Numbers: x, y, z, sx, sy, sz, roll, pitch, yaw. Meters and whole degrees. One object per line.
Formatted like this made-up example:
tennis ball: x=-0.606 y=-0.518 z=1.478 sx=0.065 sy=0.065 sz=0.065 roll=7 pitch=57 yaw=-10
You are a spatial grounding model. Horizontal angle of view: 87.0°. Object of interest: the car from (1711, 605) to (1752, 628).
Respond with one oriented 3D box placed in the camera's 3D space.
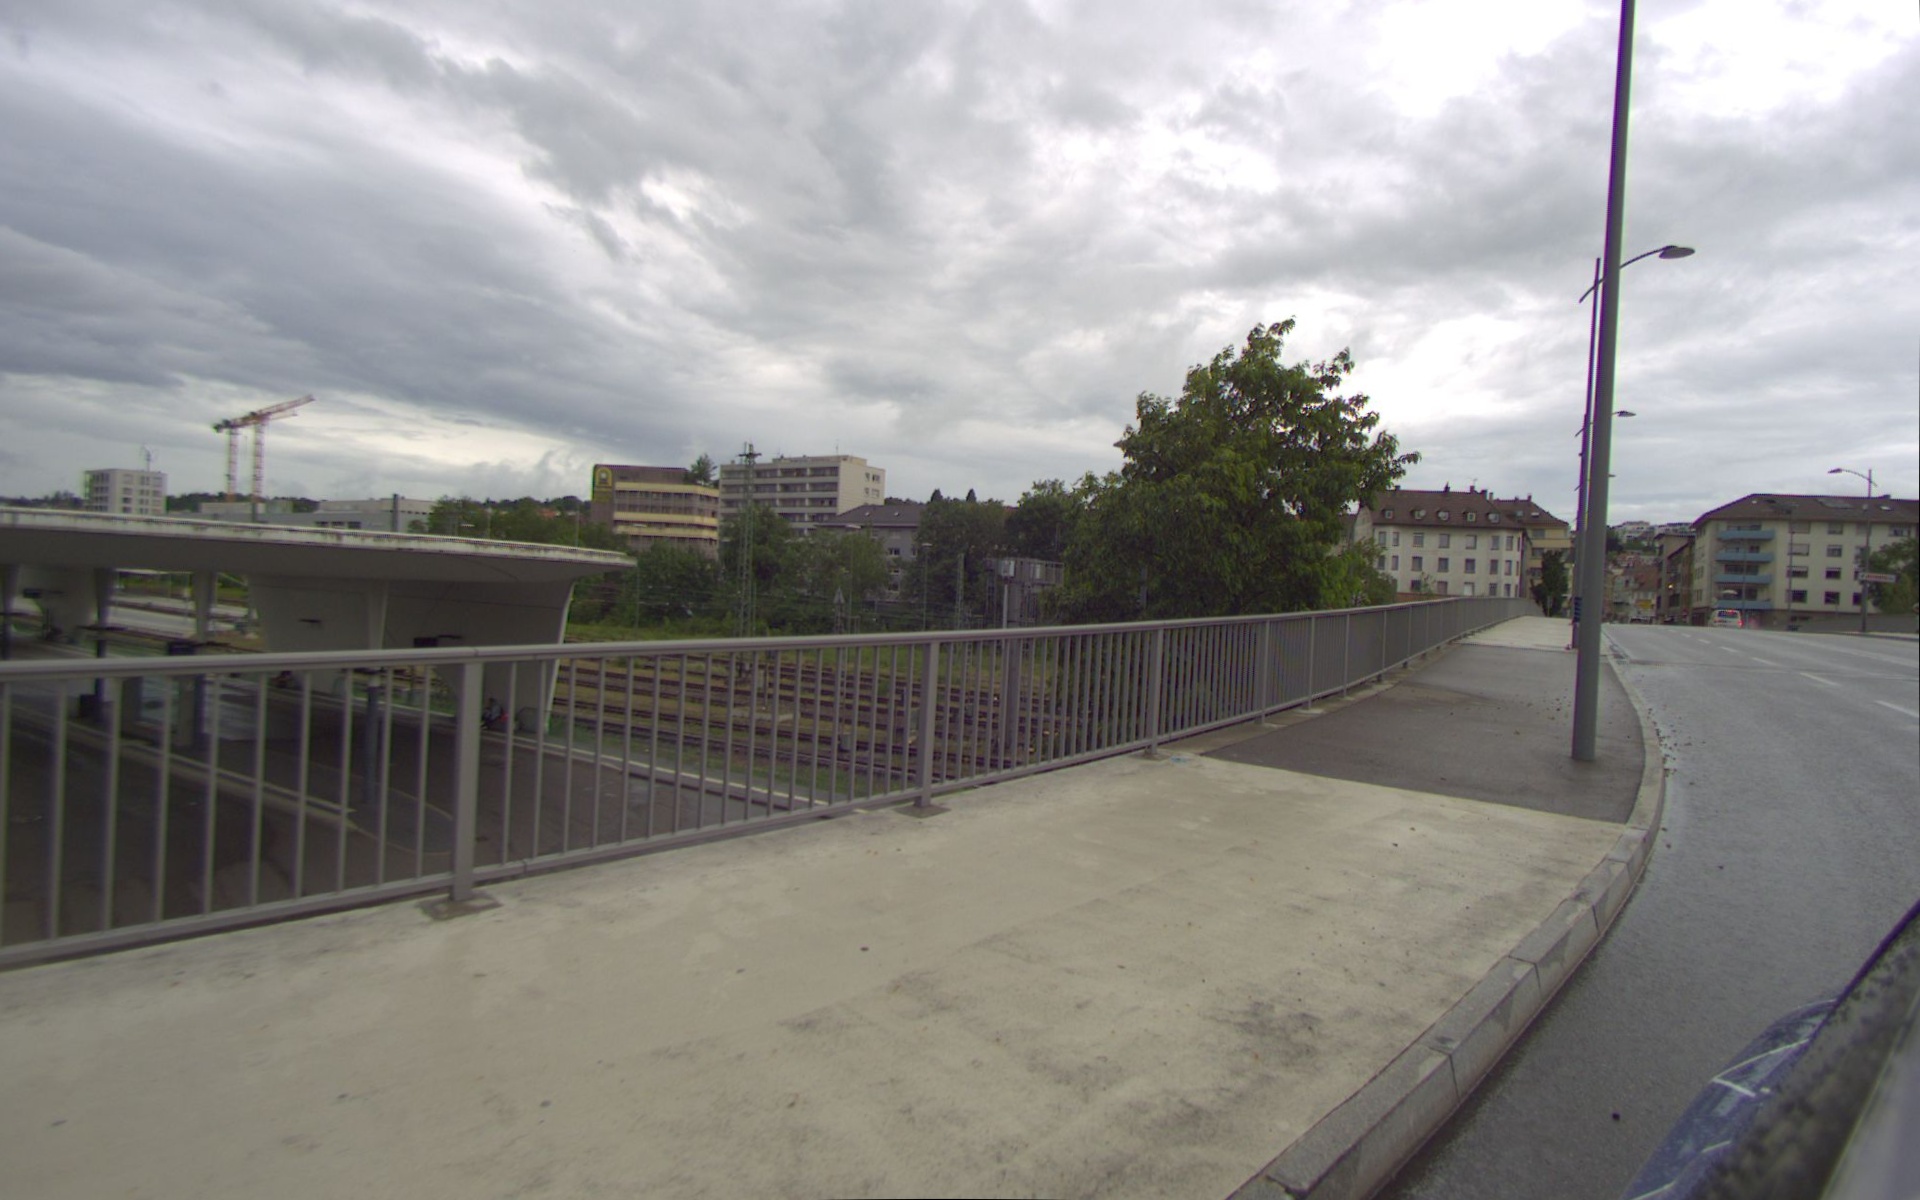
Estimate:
car: x=65.089 y=1.435 z=85.451 sx=1.874 sy=1.846 sz=4.909 roll=0 pitch=-2 yaw=27
